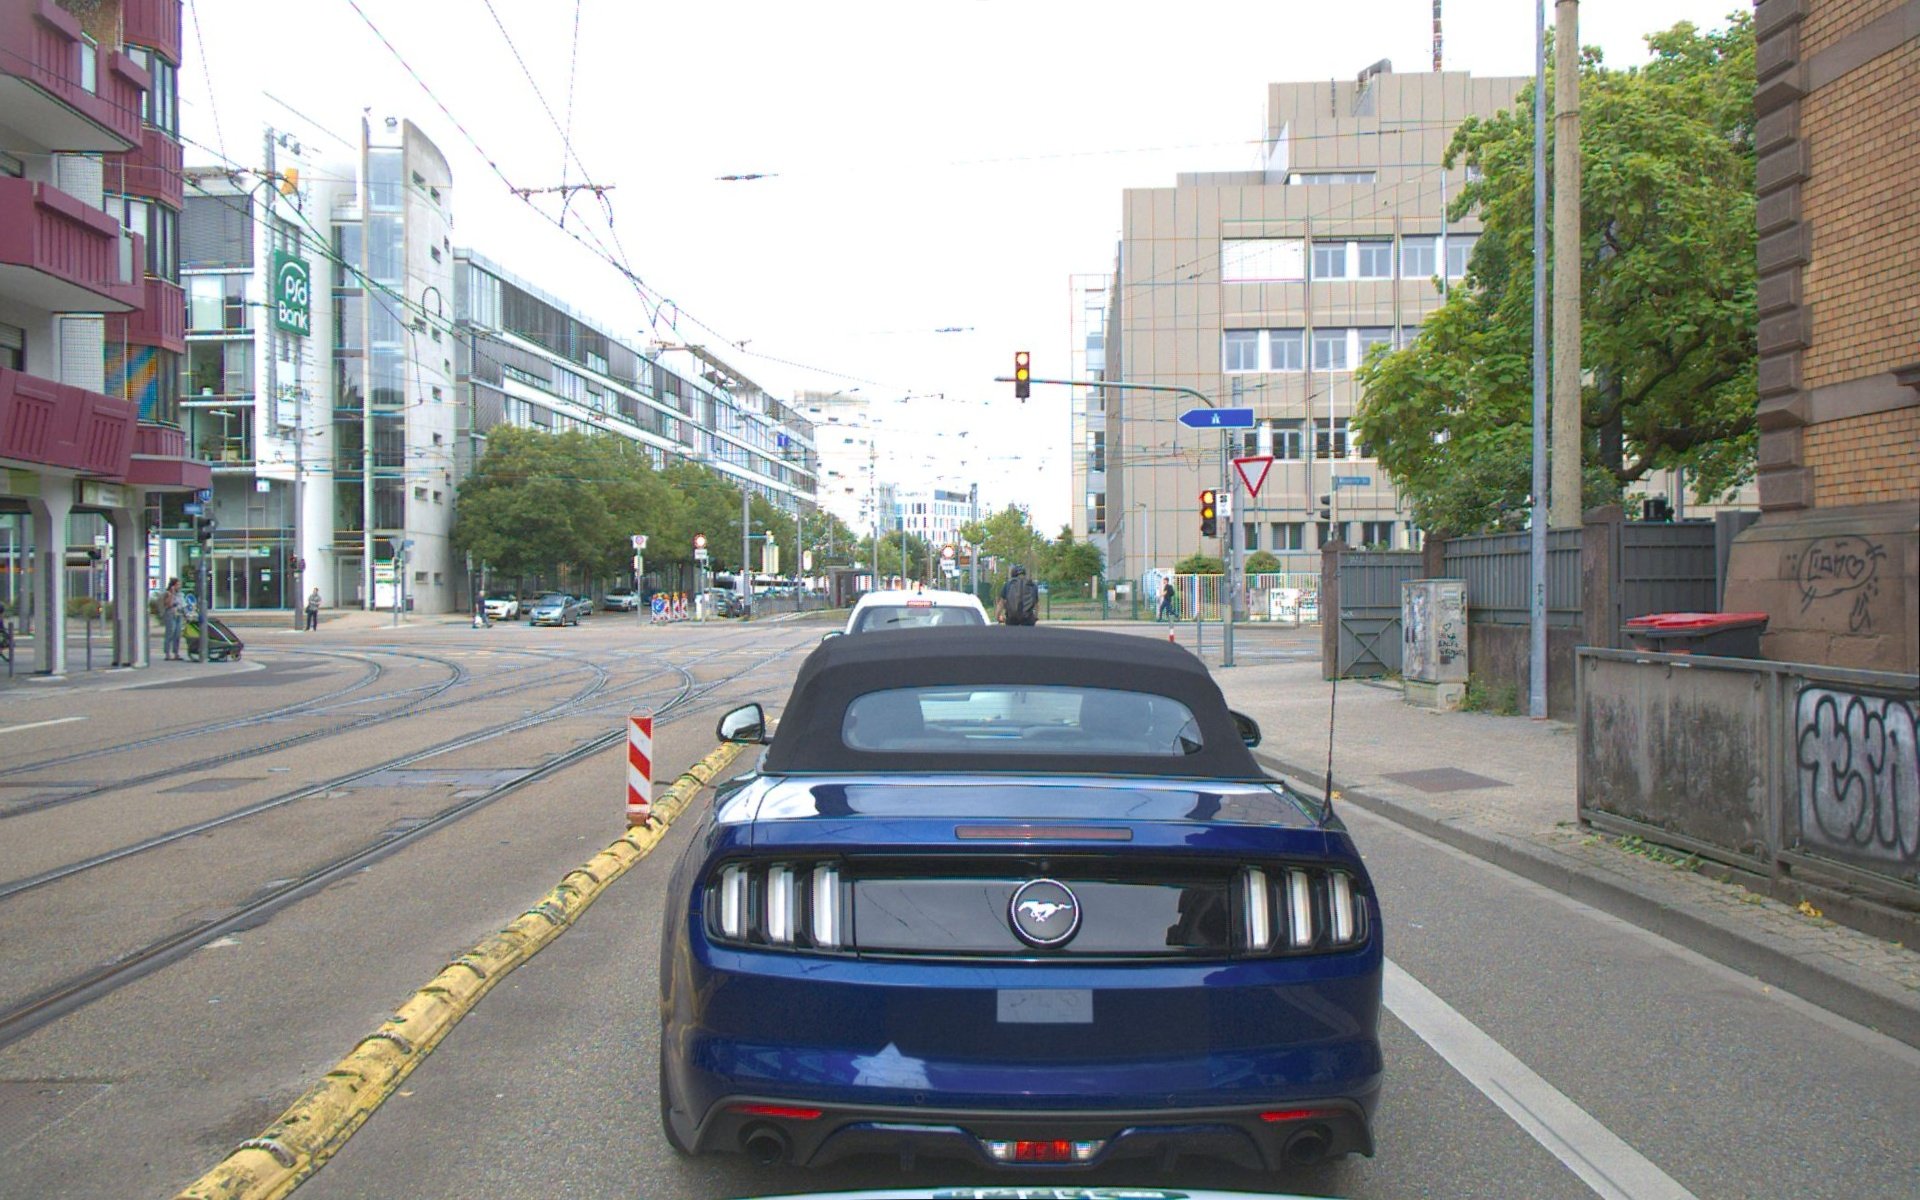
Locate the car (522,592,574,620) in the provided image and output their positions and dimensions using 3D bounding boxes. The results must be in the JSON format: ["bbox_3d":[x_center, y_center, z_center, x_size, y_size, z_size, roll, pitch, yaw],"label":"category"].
[{"bbox_3d":[-24.321,0.327,97.773,1.791,1.584,4.218,1,1,3],"label":"car"}]

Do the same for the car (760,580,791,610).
[{"bbox_3d":[-12.914,-0.366,115.751,1.749,2.022,4.120,-1,0,-1],"label":"car"}]

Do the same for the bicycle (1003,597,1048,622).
[{"bbox_3d":[2.882,0.424,72.756,0.629,0.998,2.125,-1,-2,-42],"label":"bicycle"}]

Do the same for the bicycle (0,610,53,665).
[{"bbox_3d":[-20.118,0.771,34.330,2.303,1.105,0.766,-1,0,11],"label":"bicycle"}]

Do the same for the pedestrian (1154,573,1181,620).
[{"bbox_3d":[8.679,-0.133,69.195,1.063,1.931,0.902,-1,0,5],"label":"pedestrian"}]

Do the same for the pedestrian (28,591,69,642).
[{"bbox_3d":[-31.014,0.567,56.285,0.915,1.700,0.766,-1,0,11],"label":"pedestrian"}]

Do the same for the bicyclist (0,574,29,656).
[{"bbox_3d":[-20.054,0.309,34.315,1.029,1.680,0.753,-1,0,11],"label":"bicyclist"}]

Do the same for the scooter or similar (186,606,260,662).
[{"bbox_3d":[-15.566,0.714,34.954,1.172,1.148,0.946,0,0,-3],"label":"scooter or similar"}]

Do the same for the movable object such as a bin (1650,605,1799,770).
[{"bbox_3d":[5.498,0.611,11.927,0.650,1.101,0.700,-4,0,-6],"label":"movable object such as a bin"}]

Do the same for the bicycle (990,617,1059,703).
[{"bbox_3d":[0.887,0.820,23.290,0.784,1.105,2.130,-1,0,-3],"label":"bicycle"}]

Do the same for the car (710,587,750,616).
[{"bbox_3d":[-13.471,0.082,97.040,1.841,1.657,4.086,-1,0,-1],"label":"car"}]

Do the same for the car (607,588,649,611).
[{"bbox_3d":[-23.233,-0.051,115.986,1.945,1.584,4.513,1,1,0],"label":"car"}]

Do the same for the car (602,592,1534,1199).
[{"bbox_3d":[0.199,0.707,5.426,1.838,1.428,4.282,1,0,-1],"label":"car"}]

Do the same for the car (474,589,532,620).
[{"bbox_3d":[-25.001,0.228,90.628,1.791,1.584,4.218,1,1,3],"label":"car"}]

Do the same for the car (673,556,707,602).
[{"bbox_3d":[-22.031,-1.713,135.022,1.945,3.700,4.513,1,0,0],"label":"car"}]

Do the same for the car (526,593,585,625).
[{"bbox_3d":[-20.199,0.433,82.719,1.633,1.533,4.236,1,1,3],"label":"car"}]

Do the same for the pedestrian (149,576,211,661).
[{"bbox_3d":[-16.434,0.385,34.867,0.929,1.774,0.811,0,0,-5],"label":"pedestrian"}]

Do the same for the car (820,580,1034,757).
[{"bbox_3d":[-0.454,0.564,16.097,1.799,1.464,4.183,-1,0,-5],"label":"car"}]

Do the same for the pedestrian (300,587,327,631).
[{"bbox_3d":[-28.045,0.370,71.762,0.816,1.897,0.766,-1,0,11],"label":"pedestrian"}]

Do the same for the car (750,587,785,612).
[{"bbox_3d":[-12.853,-0.046,110.584,1.830,1.634,4.212,-1,0,-1],"label":"car"}]

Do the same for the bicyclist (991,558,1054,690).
[{"bbox_3d":[0.873,0.325,23.460,0.780,1.816,1.232,-1,0,-3],"label":"bicyclist"}]

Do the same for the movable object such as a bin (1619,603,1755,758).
[{"bbox_3d":[5.544,0.597,12.644,0.638,1.101,0.677,-4,0,-6],"label":"movable object such as a bin"}]

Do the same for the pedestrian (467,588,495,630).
[{"bbox_3d":[-22.170,0.418,76.582,0.968,1.888,0.902,-1,0,6],"label":"pedestrian"}]
